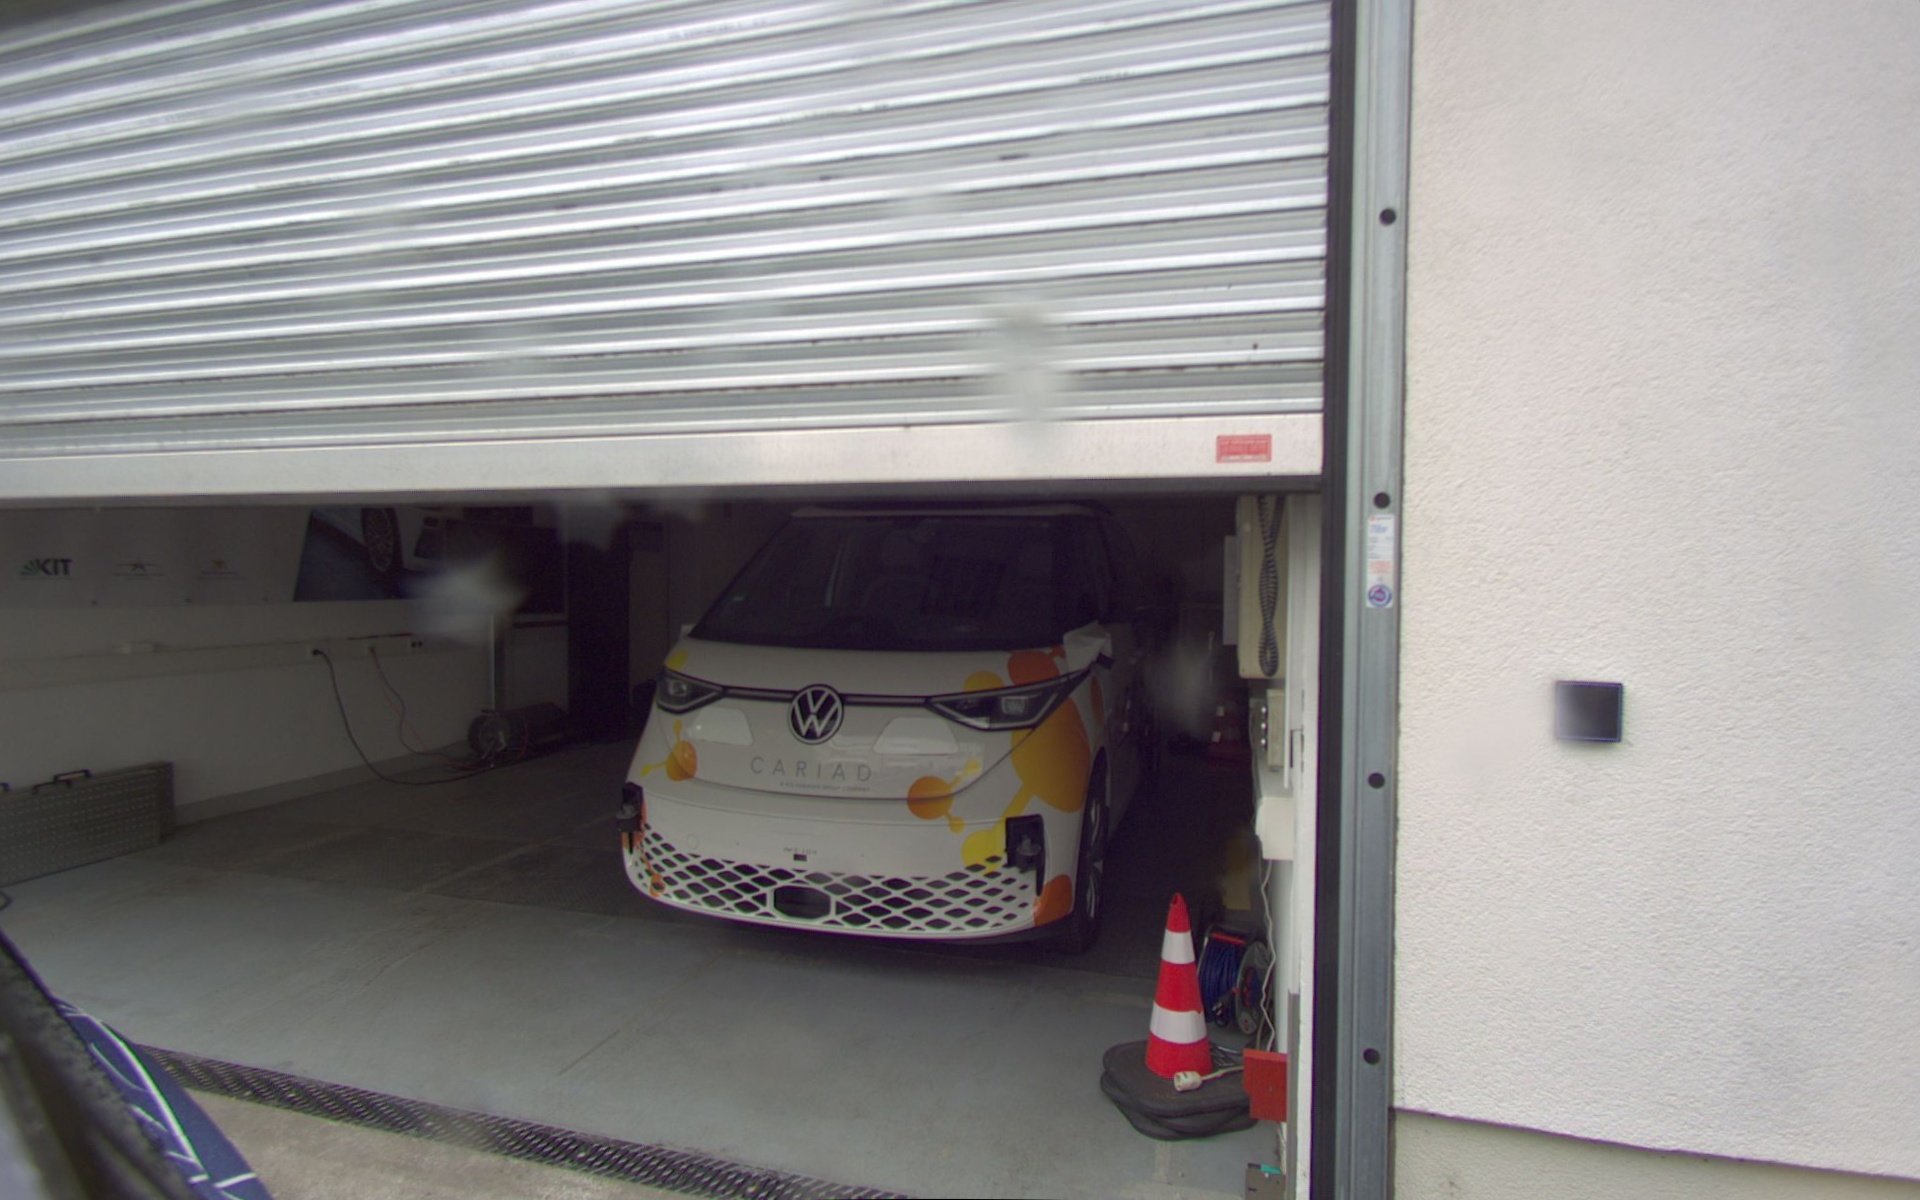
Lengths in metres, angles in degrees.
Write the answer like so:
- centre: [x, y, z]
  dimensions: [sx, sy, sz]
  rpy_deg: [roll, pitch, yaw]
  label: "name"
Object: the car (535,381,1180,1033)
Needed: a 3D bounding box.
- centre: [0.052, 0.247, 5.684]
  dimensions: [2.066, 2.028, 4.682]
  rpy_deg: [1, 2, 15]
  label: "car"
